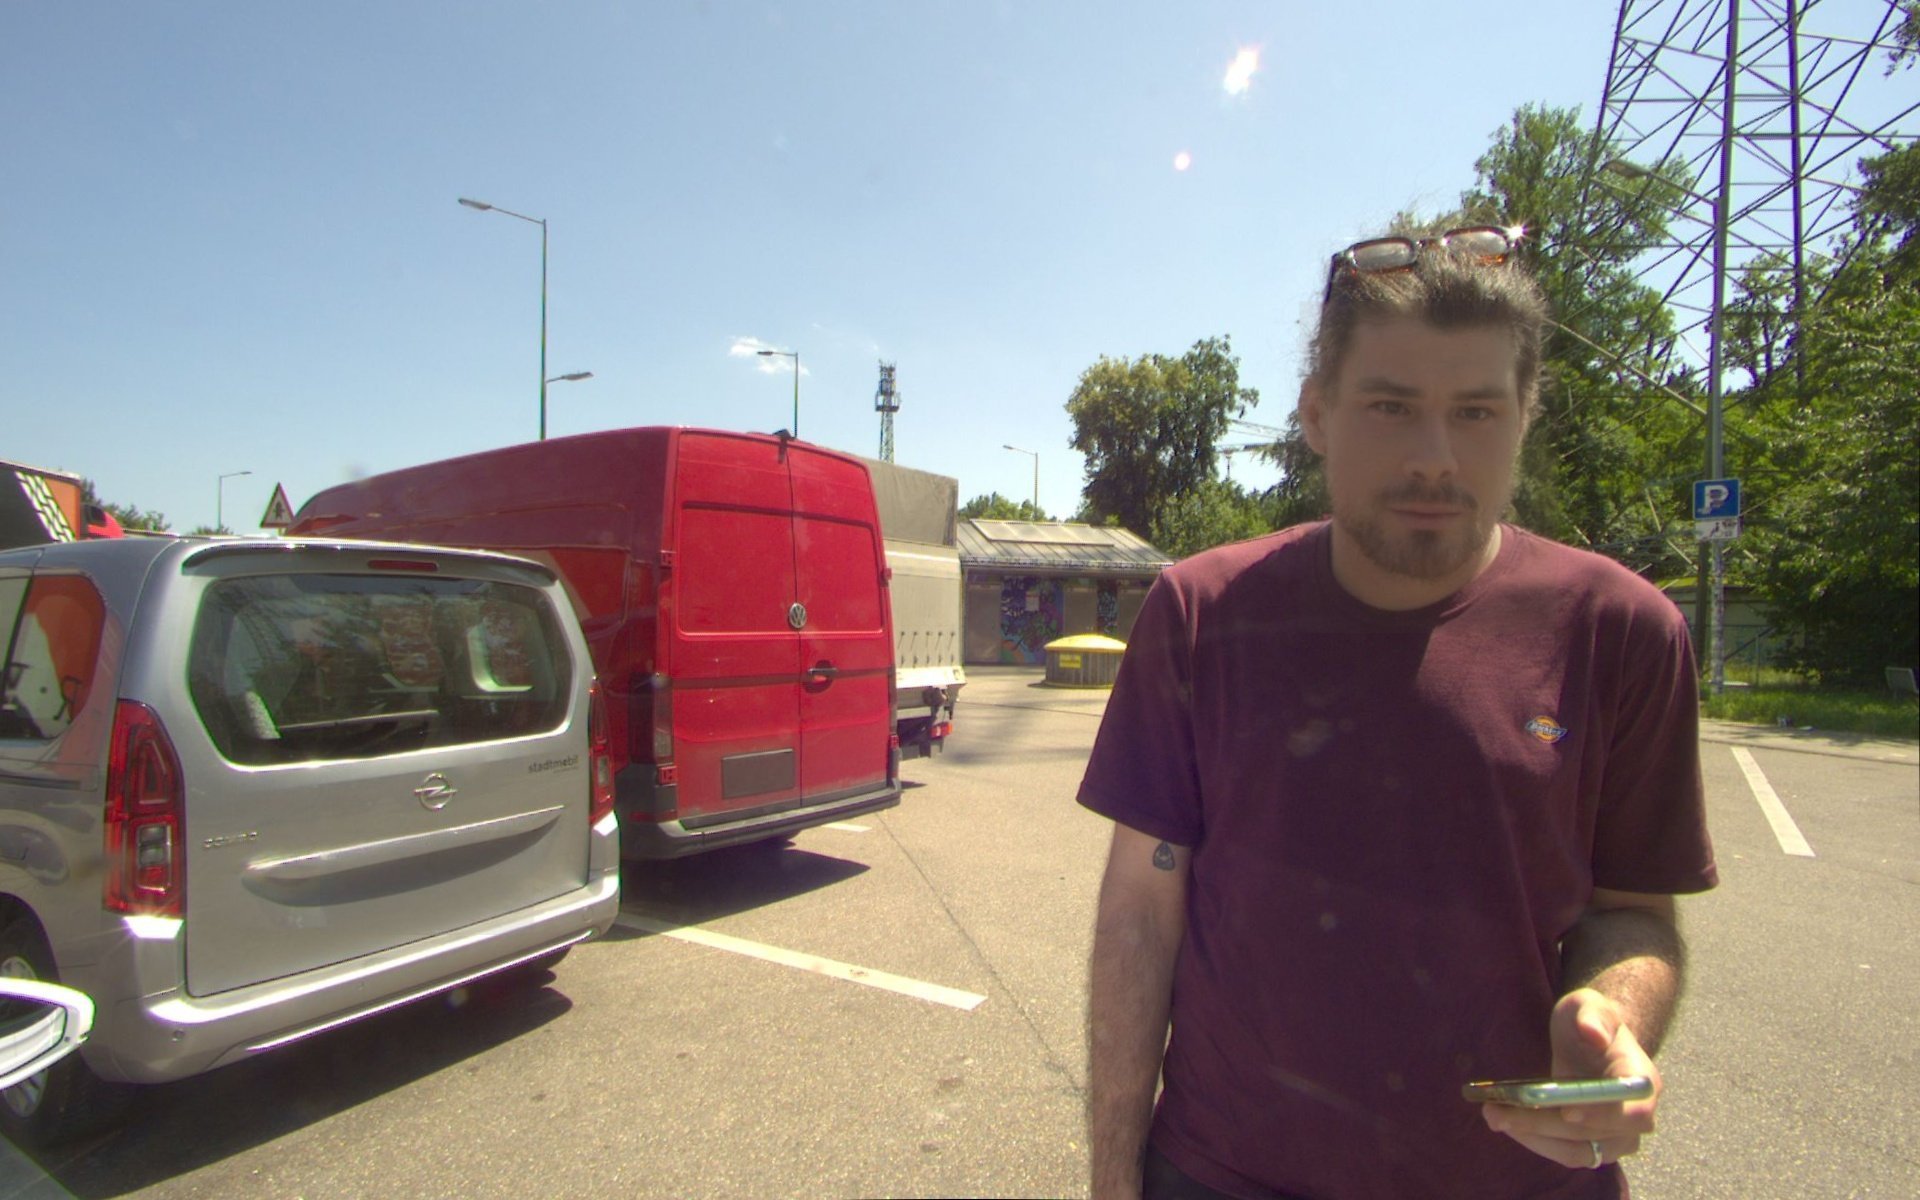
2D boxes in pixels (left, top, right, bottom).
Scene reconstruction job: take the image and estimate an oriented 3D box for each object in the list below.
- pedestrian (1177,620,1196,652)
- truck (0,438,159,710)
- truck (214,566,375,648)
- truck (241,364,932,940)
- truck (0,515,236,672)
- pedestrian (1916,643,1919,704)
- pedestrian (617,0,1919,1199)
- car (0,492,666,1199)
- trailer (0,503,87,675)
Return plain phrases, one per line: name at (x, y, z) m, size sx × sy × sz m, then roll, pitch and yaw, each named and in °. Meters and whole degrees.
pedestrian at (10.060, 1.588, 44.438) m, size 0.579 × 1.402 × 0.754 m, roll 0°, pitch -1°, yaw -8°
truck at (-15.852, -0.426, 14.452) m, size 2.646 × 4.181 × 10.590 m, roll 1°, pitch -1°, yaw -15°
truck at (-30.716, 0.323, 46.073) m, size 8.407 × 3.482 × 3.019 m, roll 0°, pitch -1°, yaw 33°
truck at (-2.871, 0.263, 6.997) m, size 5.233 × 2.658 × 1.987 m, roll 0°, pitch -1°, yaw 37°
truck at (-27.998, -0.128, 31.785) m, size 14.316 × 4.175 × 2.901 m, roll 0°, pitch -3°, yaw 33°
pedestrian at (17.268, 1.299, 17.387) m, size 0.797 × 1.062 × 0.712 m, roll 0°, pitch -1°, yaw 30°
pedestrian at (0.355, 0.509, 0.856) m, size 0.926 × 1.798 × 0.827 m, roll 0°, pitch -1°, yaw 28°
car at (-3.357, 0.638, 4.212) m, size 3.938 × 1.776 × 1.824 m, roll 0°, pitch -1°, yaw 29°
trailer at (-28.804, -0.287, 28.031) m, size 13.374 × 4.178 × 2.871 m, roll 0°, pitch -1°, yaw 33°
